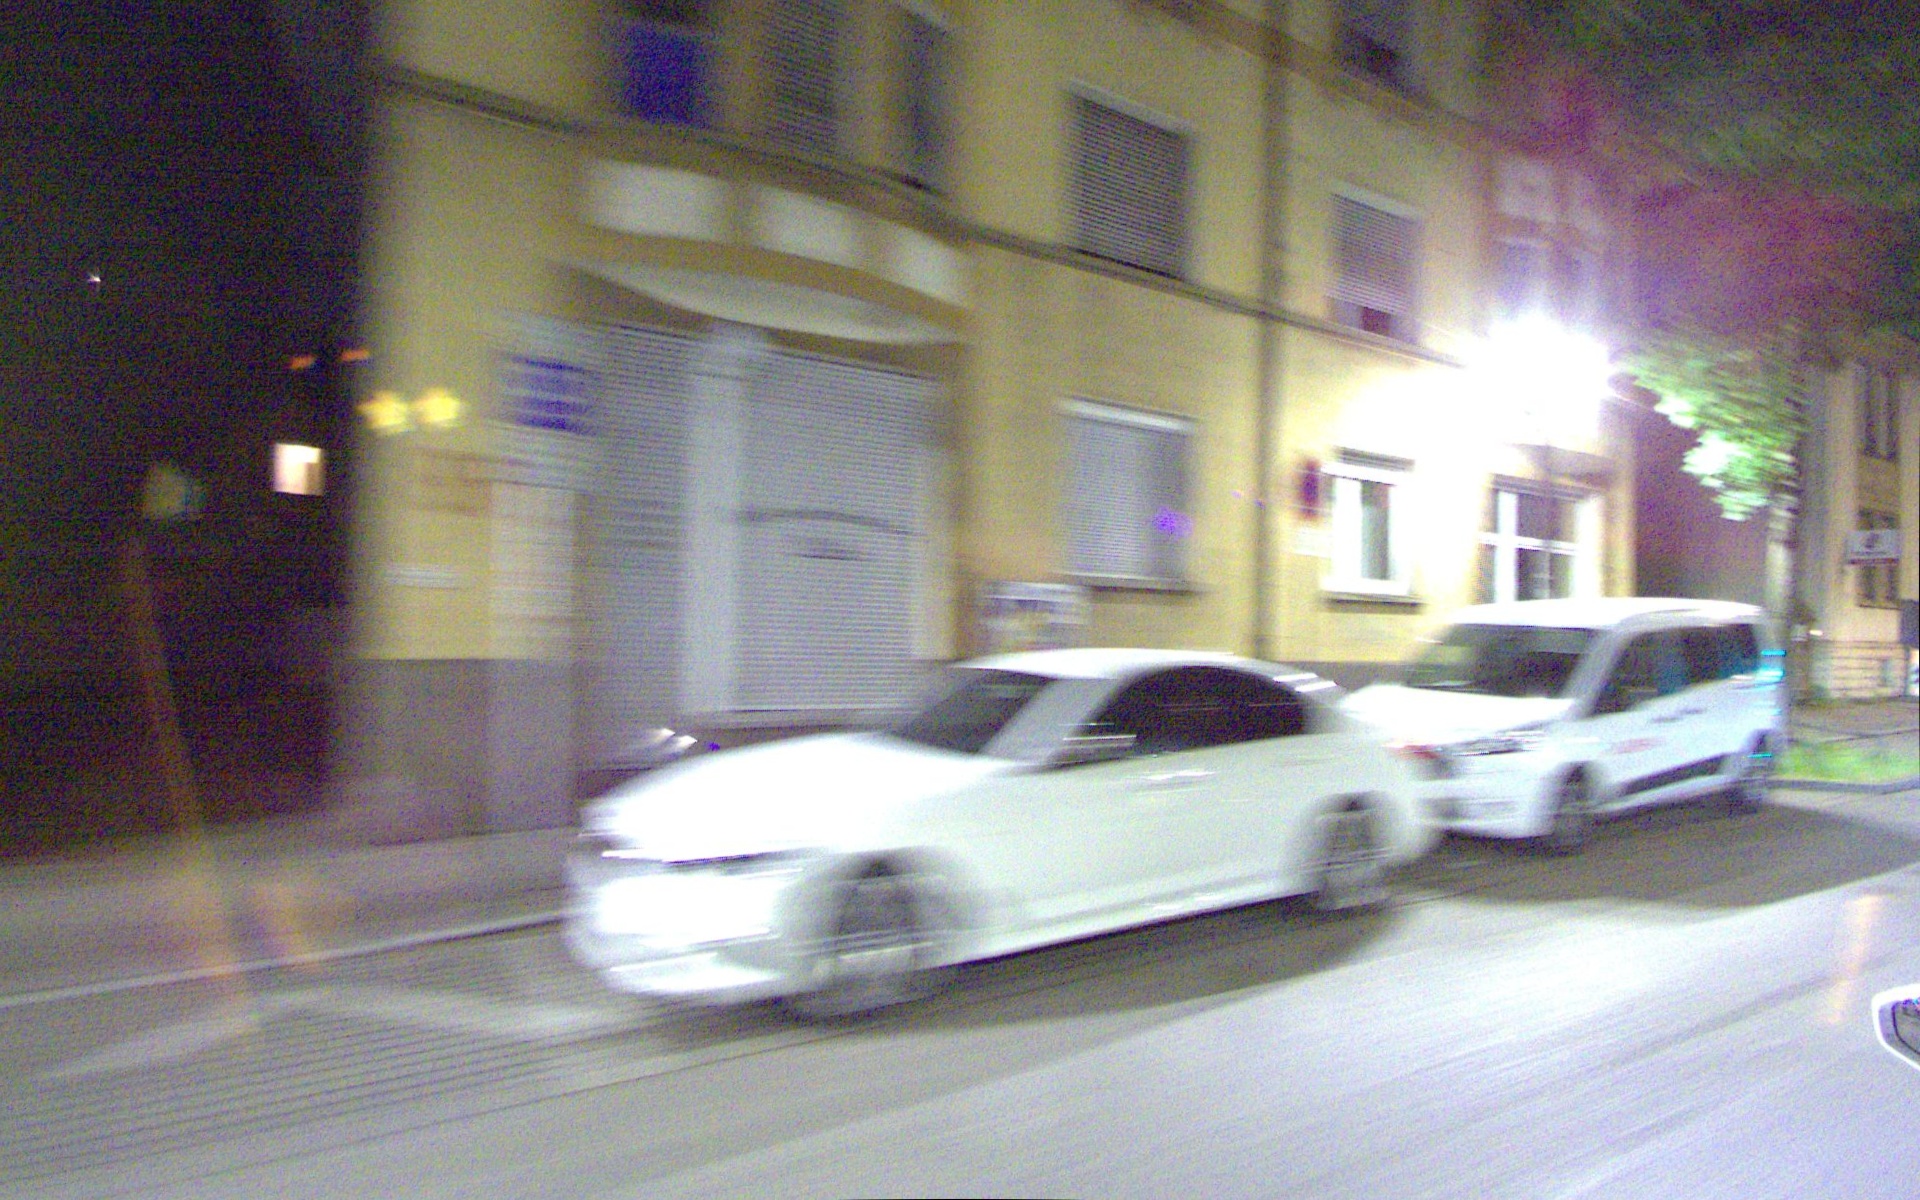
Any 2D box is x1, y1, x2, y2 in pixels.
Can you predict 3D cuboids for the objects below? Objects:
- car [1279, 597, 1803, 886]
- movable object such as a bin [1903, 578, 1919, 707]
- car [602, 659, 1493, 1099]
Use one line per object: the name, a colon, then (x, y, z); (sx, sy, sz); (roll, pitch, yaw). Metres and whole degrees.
car: (5.085, 0.977, 8.587); (4.761, 1.867, 1.873); (1, -2, -32)
movable object such as a bin: (21.783, 0.879, 21.251); (3.863, 2.661, 1.564); (1, -3, -30)
car: (0.683, 1.117, 5.626); (4.824, 1.469, 1.830); (1, -2, -30)
